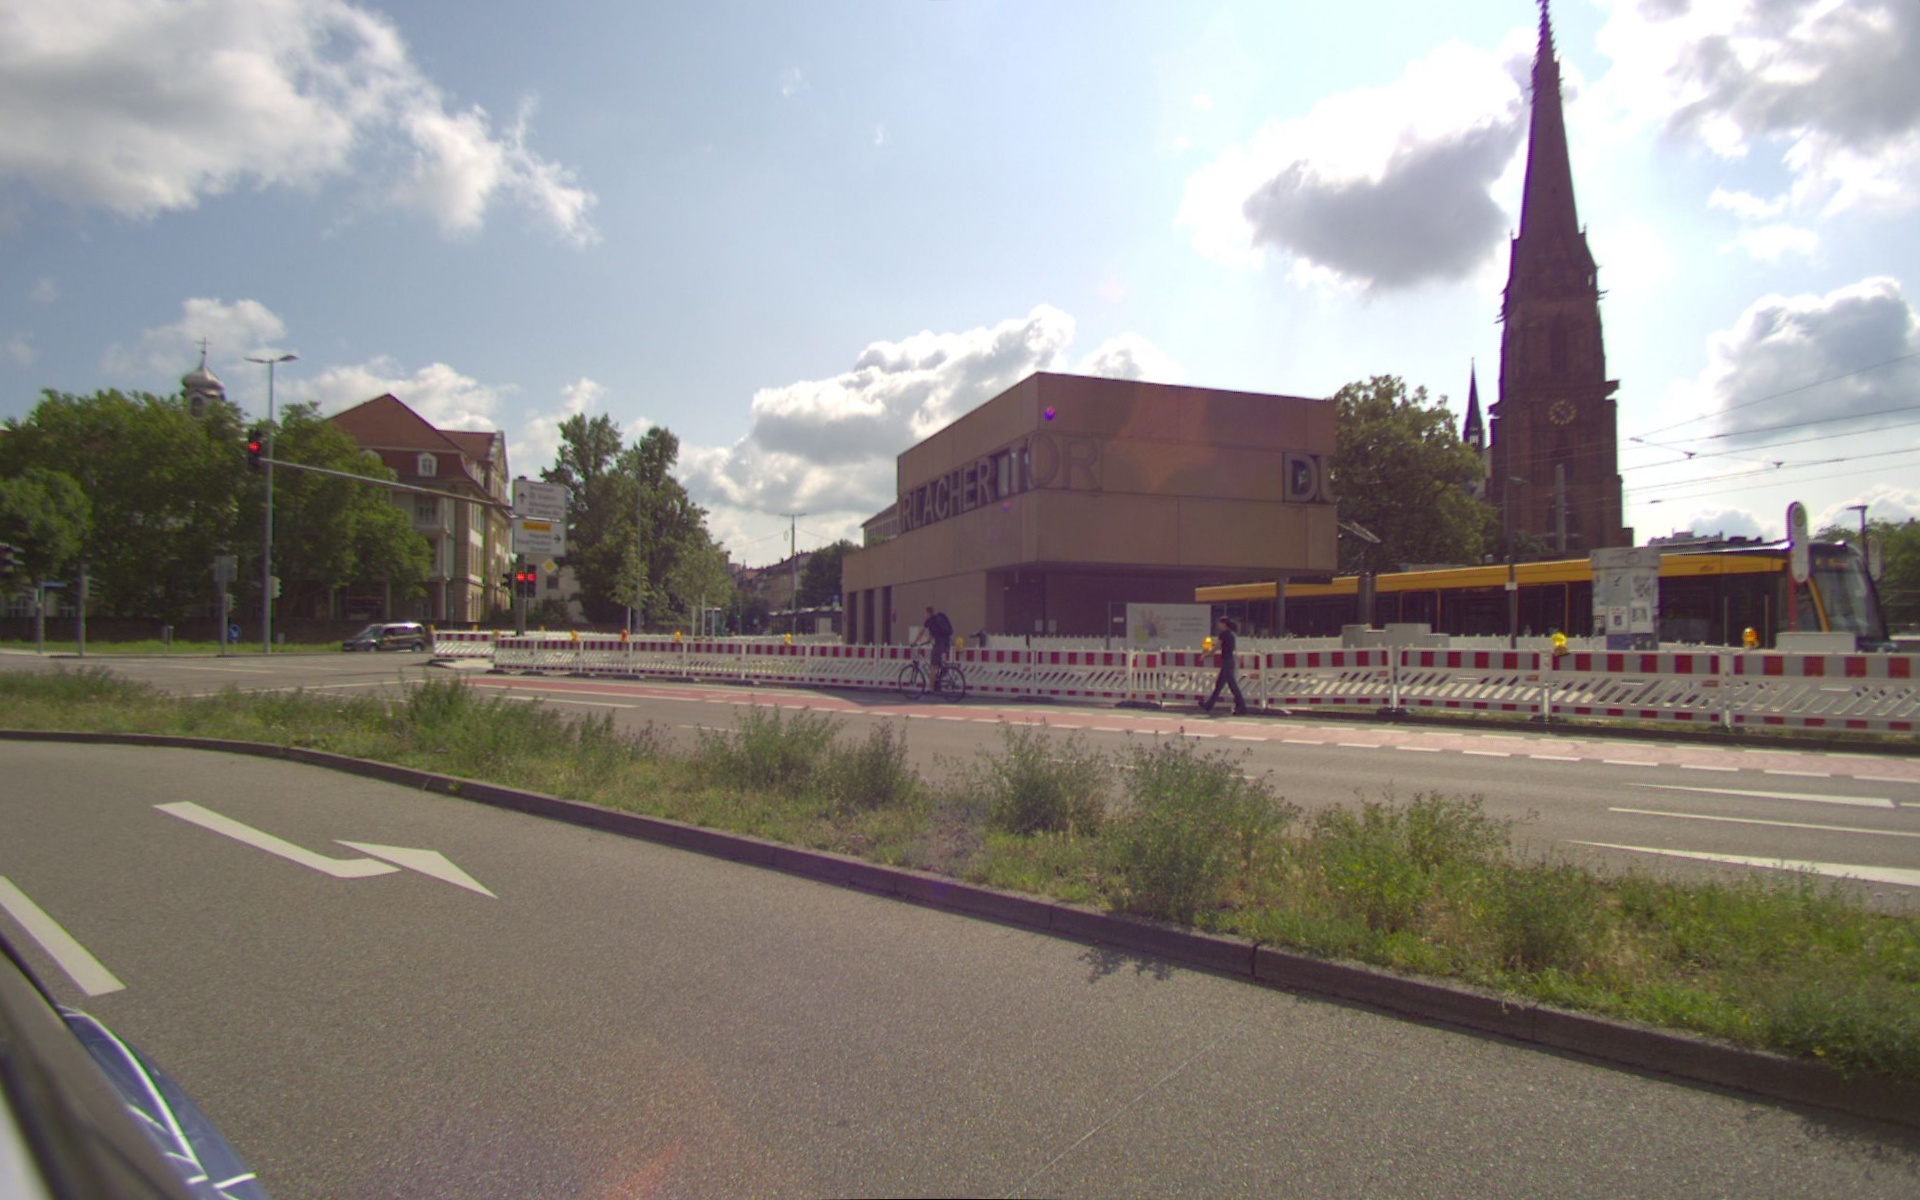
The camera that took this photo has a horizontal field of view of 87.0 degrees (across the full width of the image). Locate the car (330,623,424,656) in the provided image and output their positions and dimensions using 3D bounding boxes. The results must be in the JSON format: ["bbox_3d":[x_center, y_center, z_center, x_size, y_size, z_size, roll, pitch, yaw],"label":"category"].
[{"bbox_3d":[-33.055,2.258,57.574,1.839,1.799,4.644,-2,-3,17],"label":"car"}]

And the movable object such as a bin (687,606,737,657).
[{"bbox_3d":[-15.178,1.925,61.777,1.965,2.972,4.465,2,-3,-27],"label":"movable object such as a bin"}]

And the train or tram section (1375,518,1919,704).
[{"bbox_3d":[16.138,0.407,25.886,2.622,3.599,12.452,1,-2,-19],"label":"train or tram section"}]

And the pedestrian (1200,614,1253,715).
[{"bbox_3d":[4.586,1.095,17.426,0.640,1.694,0.728,-2,-2,38],"label":"pedestrian"}]

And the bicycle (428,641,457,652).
[{"bbox_3d":[-42.179,3.802,82.512,2.025,0.867,0.861,2,-1,-30],"label":"bicycle"}]

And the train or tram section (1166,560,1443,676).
[{"bbox_3d":[12.078,0.757,37.682,2.585,3.591,12.452,1,-2,-19],"label":"train or tram section"}]

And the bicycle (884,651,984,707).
[{"bbox_3d":[-0.528,1.532,19.905,2.015,1.009,0.611,-1,-2,37],"label":"bicycle"}]

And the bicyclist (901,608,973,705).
[{"bbox_3d":[-0.456,1.095,19.853,1.157,1.836,0.803,-2,-2,38],"label":"bicyclist"}]
